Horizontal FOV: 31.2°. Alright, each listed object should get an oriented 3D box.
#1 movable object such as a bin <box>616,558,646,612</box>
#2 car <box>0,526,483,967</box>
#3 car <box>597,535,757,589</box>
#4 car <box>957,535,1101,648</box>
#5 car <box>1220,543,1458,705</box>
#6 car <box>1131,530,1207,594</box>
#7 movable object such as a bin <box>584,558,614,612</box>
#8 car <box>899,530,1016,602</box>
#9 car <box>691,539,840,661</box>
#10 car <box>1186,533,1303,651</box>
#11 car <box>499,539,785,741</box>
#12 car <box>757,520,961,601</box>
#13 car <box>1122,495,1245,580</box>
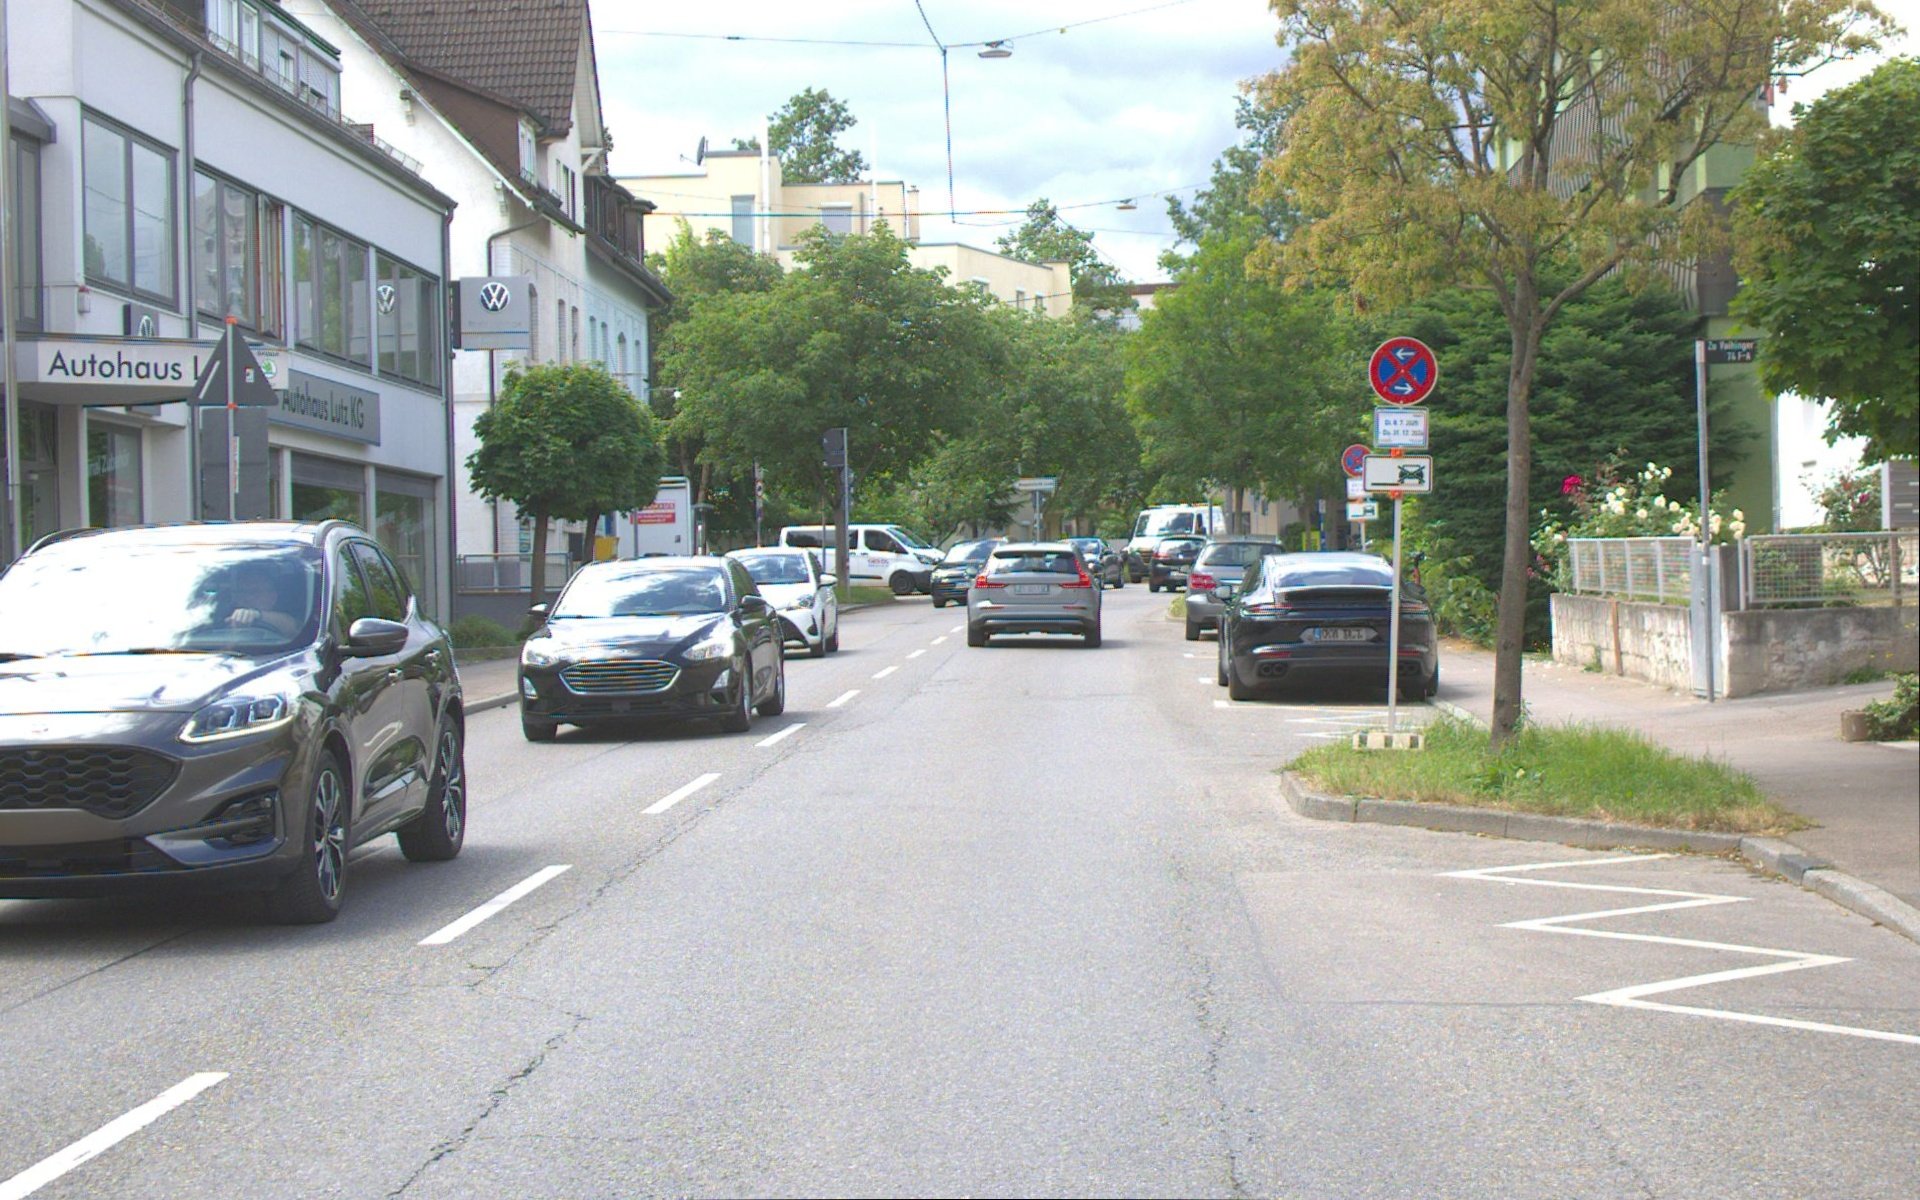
[{"bbox_3d":[-6.827,-0.315,71.274,0.564,1.097,0.563,1,0,-2],"label":"movable object such as a bin"},{"bbox_3d":[-3.378,0.510,14.973,1.831,1.624,4.321,-1,1,2],"label":"car"},{"bbox_3d":[-7.781,-1.037,94.553,4.019,1.408,1.814,0,-1,15],"label":"car"},{"bbox_3d":[1.029,-0.117,49.129,1.956,1.518,4.329,-1,0,2],"label":"car"},{"bbox_3d":[3.644,0.213,33.852,1.984,1.443,4.751,-1,0,2],"label":"car"},{"bbox_3d":[5.155,-0.924,85.130,1.614,1.518,3.570,-1,0,0],"label":"car"},{"bbox_3d":[-7.477,-0.316,71.192,0.564,1.097,0.563,1,0,-2],"label":"movable object such as a bin"},{"bbox_3d":[-0.025,-0.781,77.192,1.777,1.518,4.460,-1,1,11],"label":"car"},{"bbox_3d":[-2.631,-0.005,47.176,1.690,1.574,3.800,-1,0,2],"label":"car"},{"bbox_3d":[4.362,-0.165,52.987,1.690,1.660,4.462,-1,2,4],"label":"car"},{"bbox_3d":[-2.553,0.303,28.547,1.831,1.518,4.170,-1,0,2],"label":"car"},{"bbox_3d":[-2.835,-1.122,96.590,5.217,1.987,2.106,-3,1,20],"label":"car"},{"bbox_3d":[6.848,-1.923,104.723,2.065,2.345,5.177,-3,1,22],"label":"car"}]
